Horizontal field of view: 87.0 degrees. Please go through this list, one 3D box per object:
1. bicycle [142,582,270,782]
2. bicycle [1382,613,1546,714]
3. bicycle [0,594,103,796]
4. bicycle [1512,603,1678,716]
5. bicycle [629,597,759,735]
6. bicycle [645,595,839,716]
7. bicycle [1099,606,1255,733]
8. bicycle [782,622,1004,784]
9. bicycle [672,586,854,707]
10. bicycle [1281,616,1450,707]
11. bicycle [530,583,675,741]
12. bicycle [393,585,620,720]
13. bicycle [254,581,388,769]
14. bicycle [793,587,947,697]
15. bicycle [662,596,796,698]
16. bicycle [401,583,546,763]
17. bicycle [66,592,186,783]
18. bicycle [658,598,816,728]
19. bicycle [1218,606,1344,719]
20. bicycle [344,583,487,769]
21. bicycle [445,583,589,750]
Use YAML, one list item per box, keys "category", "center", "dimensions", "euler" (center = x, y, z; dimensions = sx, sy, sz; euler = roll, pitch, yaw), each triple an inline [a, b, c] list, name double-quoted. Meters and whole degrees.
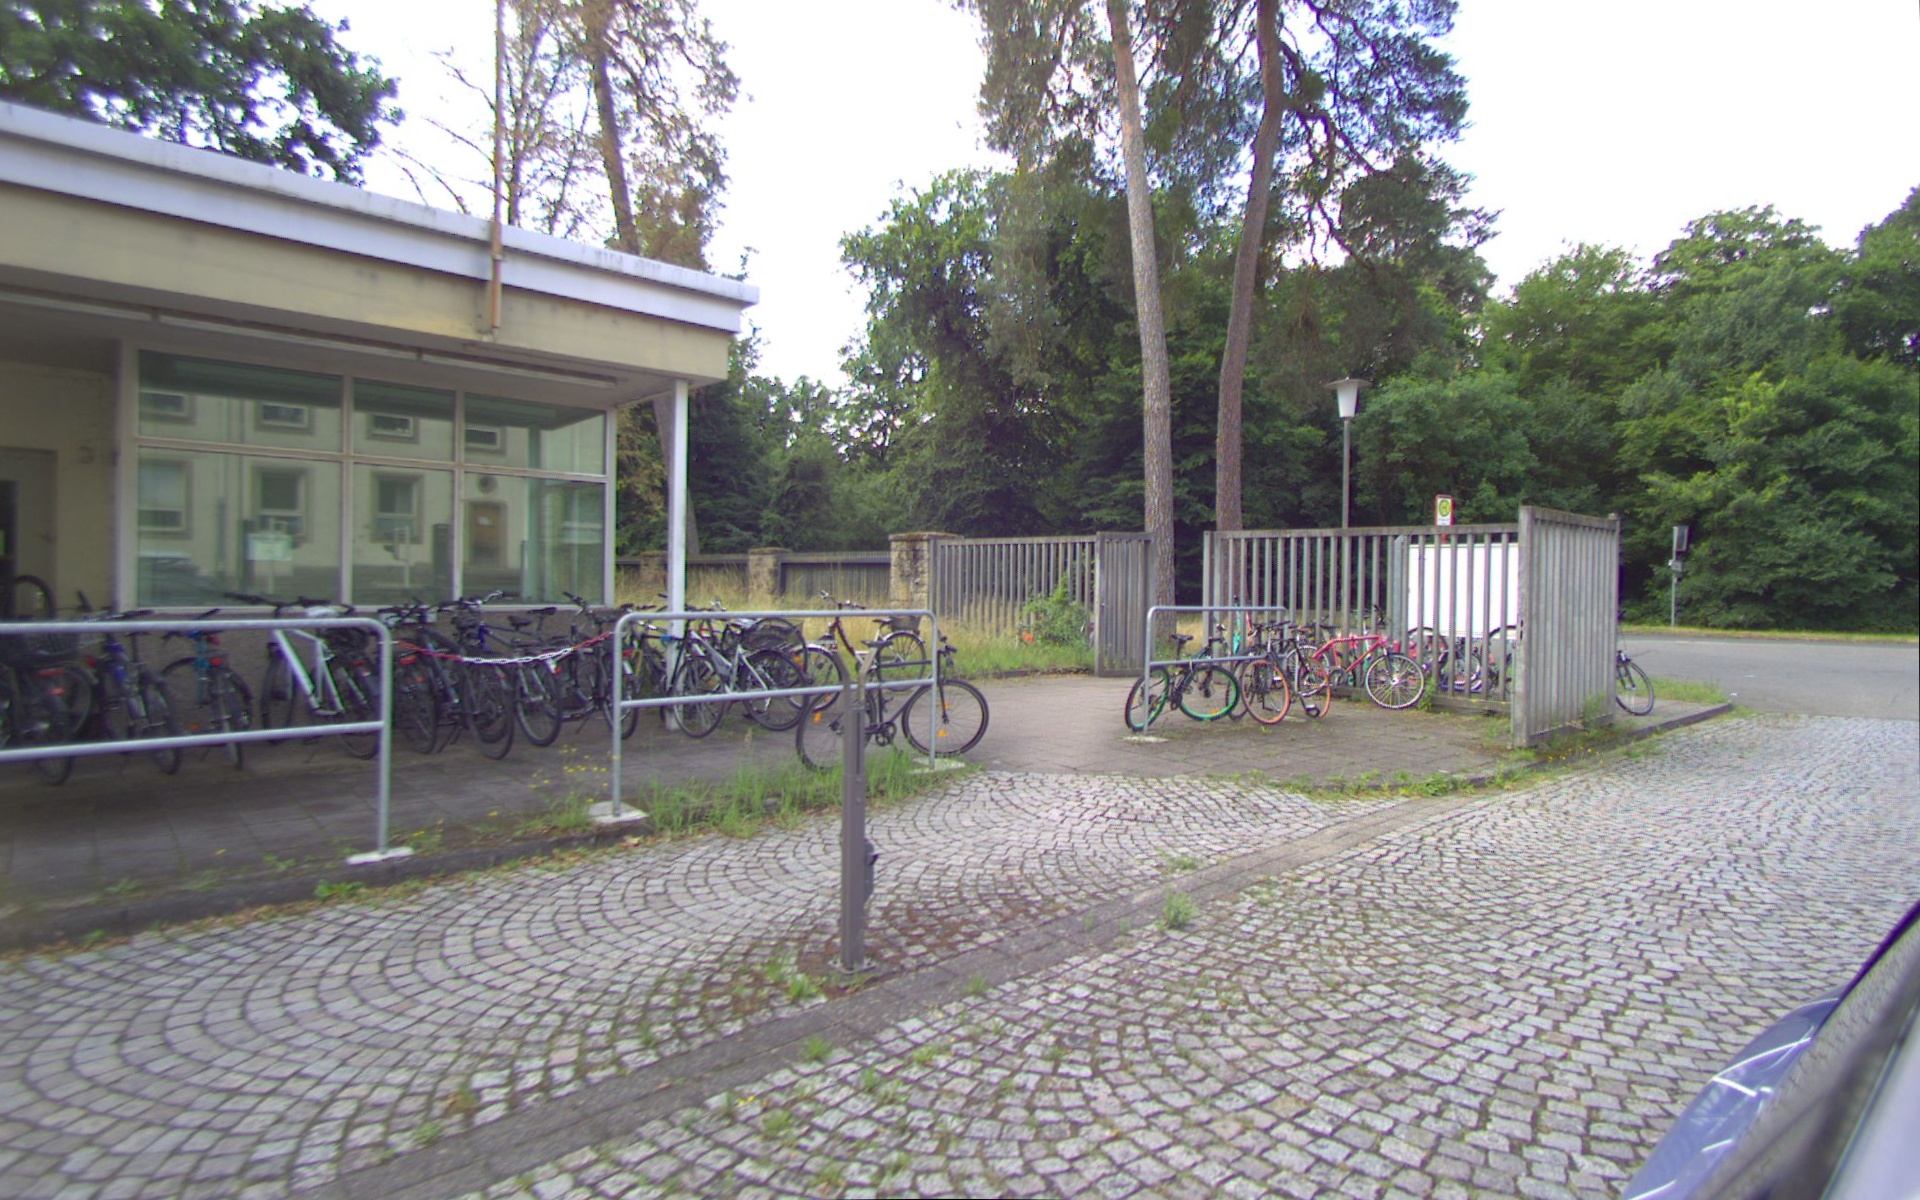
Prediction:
- category: "bicycle"
  center: [-5.079, 0.488, 6.781]
  dimensions: [1.589, 1.155, 0.320]
  euler: [4, 3, 40]
- category: "bicycle"
  center: [6.047, 0.724, 12.234]
  dimensions: [0.380, 1.046, 1.729]
  euler: [0, 2, -41]
- category: "bicycle"
  center: [-5.834, 0.533, 6.285]
  dimensions: [1.623, 1.063, 0.330]
  euler: [3, 2, 33]
- category: "bicycle"
  center: [7.951, 0.702, 12.703]
  dimensions: [1.648, 1.245, 0.738]
  euler: [3, 2, 40]
- category: "bicycle"
  center: [-2.228, 0.526, 8.438]
  dimensions: [1.142, 1.076, 0.284]
  euler: [1, 1, 27]
- category: "bicycle"
  center: [-2.017, 0.494, 9.414]
  dimensions: [1.721, 1.059, 0.453]
  euler: [1, 1, 9]
- category: "bicycle"
  center: [2.081, 0.610, 9.606]
  dimensions: [1.539, 1.075, 0.691]
  euler: [0, 2, -43]
- category: "bicycle"
  center: [-0.442, 0.678, 7.269]
  dimensions: [1.627, 0.964, 0.535]
  euler: [-1, 2, -43]
- category: "bicycle"
  center: [-1.934, 0.447, 10.024]
  dimensions: [1.709, 1.146, 0.474]
  euler: [1, 1, 3]
- category: "bicycle"
  center: [4.967, 0.723, 12.490]
  dimensions: [1.862, 0.951, 0.496]
  euler: [3, 2, 42]
- category: "bicycle"
  center: [-3.020, 0.467, 8.469]
  dimensions: [1.611, 1.155, 0.351]
  euler: [4, 3, 40]
- category: "bicycle"
  center: [-4.029, 0.421, 9.105]
  dimensions: [1.802, 1.089, 0.490]
  euler: [0, 3, -45]
- category: "bicycle"
  center: [-4.579, 0.479, 7.212]
  dimensions: [1.611, 1.155, 0.320]
  euler: [4, 3, 40]
- category: "bicycle"
  center: [-1.004, 0.443, 11.525]
  dimensions: [1.649, 1.153, 0.649]
  euler: [0, 1, -37]
- category: "bicycle"
  center: [-2.437, 0.478, 10.670]
  dimensions: [1.328, 1.023, 0.406]
  euler: [0, 1, -20]
- category: "bicycle"
  center: [-3.634, 0.482, 7.495]
  dimensions: [1.611, 1.155, 0.320]
  euler: [4, 3, 40]
- category: "bicycle"
  center: [-5.527, 0.519, 6.677]
  dimensions: [1.589, 1.063, 0.320]
  euler: [4, 3, 40]
- category: "bicycle"
  center: [-1.951, 0.524, 8.826]
  dimensions: [1.389, 1.059, 0.337]
  euler: [1, 1, 21]
- category: "bicycle"
  center: [3.398, 0.615, 10.635]
  dimensions: [1.703, 1.070, 0.473]
  euler: [0, 2, -43]
- category: "bicycle"
  center: [-3.945, 0.487, 7.273]
  dimensions: [1.611, 1.155, 0.320]
  euler: [4, 3, 40]
- category: "bicycle"
  center: [-3.545, 0.476, 8.034]
  dimensions: [1.611, 1.155, 0.351]
  euler: [4, 3, 40]
